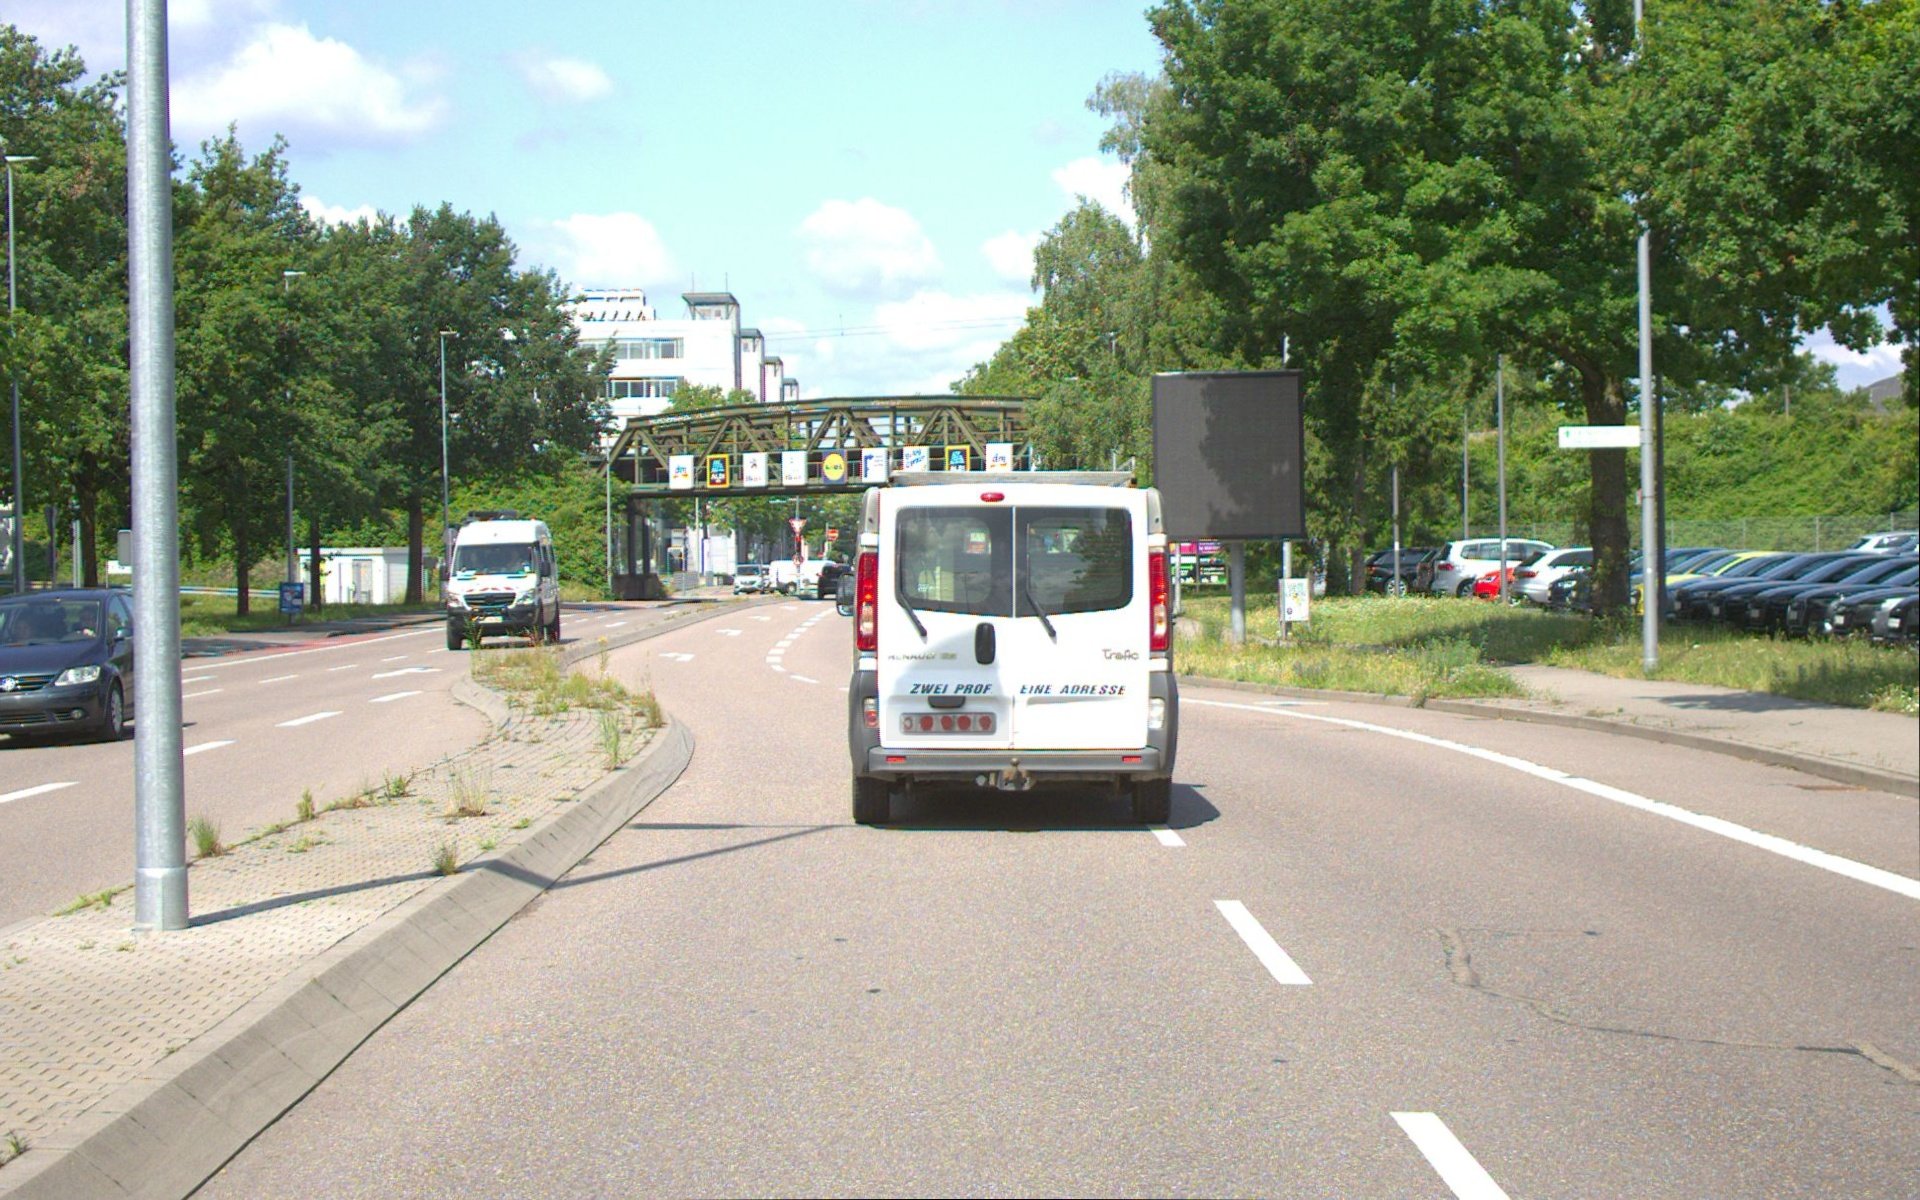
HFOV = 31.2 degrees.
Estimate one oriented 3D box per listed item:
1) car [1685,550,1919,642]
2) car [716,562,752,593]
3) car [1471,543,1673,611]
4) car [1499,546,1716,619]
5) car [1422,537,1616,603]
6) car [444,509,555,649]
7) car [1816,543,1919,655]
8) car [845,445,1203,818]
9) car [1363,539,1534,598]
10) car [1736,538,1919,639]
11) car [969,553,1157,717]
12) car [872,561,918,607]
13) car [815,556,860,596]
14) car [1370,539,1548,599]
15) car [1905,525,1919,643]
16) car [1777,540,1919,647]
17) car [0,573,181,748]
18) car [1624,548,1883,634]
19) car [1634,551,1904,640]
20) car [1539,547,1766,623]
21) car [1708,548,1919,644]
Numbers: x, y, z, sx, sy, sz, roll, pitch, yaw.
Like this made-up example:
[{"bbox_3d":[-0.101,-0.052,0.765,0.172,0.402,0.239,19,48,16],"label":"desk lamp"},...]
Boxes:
[{"bbox_3d":[14.966,-0.078,59.570,4.354,1.507,1.936,0,2,-2],"label":"car"},{"bbox_3d":[-15.024,-1.498,228.291,1.993,2.007,4.000,-1,1,2],"label":"car"},{"bbox_3d":[14.355,-0.546,80.839,4.354,1.507,1.936,0,2,-2],"label":"car"},{"bbox_3d":[14.161,-0.402,75.355,4.354,1.507,1.936,0,2,-2],"label":"car"},{"bbox_3d":[13.556,-0.735,83.580,4.354,1.507,1.936,0,2,-2],"label":"car"},{"bbox_3d":[-9.946,-0.476,74.653,2.022,2.883,6.383,-1,1,-5],"label":"car"},{"bbox_3d":[14.656,-0.020,49.078,4.354,1.507,1.936,0,2,-2],"label":"car"},{"bbox_3d":[0.334,0.102,21.246,1.973,2.052,4.565,0,2,-1],"label":"car"},{"bbox_3d":[13.367,-0.874,94.306,4.354,1.507,1.936,0,2,-2],"label":"car"},{"bbox_3d":[14.712,-0.189,54.474,4.354,1.507,1.936,0,2,-2],"label":"car"},{"bbox_3d":[1.073,0.339,37.734,1.774,1.623,4.001,0,2,-2],"label":"car"},{"bbox_3d":[-2.928,-0.729,155.444,1.993,2.007,4.000,-1,1,0],"label":"car"},{"bbox_3d":[-5.929,-1.177,166.656,1.993,1.765,4.001,0,2,1],"label":"car"},{"bbox_3d":[13.116,-0.822,90.478,4.354,1.507,1.936,0,2,-2],"label":"car"},{"bbox_3d":[14.588,-0.177,44.093,4.354,1.507,1.936,0,2,-2],"label":"car"},{"bbox_3d":[14.683,-0.102,51.561,4.354,1.507,1.936,0,2,-2],"label":"car"},{"bbox_3d":[-9.332,0.596,35.394,1.738,1.604,4.242,-4,1,-3],"label":"car"},{"bbox_3d":[14.848,-0.184,64.489,4.354,1.507,1.936,0,2,-2],"label":"car"},{"bbox_3d":[14.559,-0.089,62.022,4.354,1.507,1.936,0,2,-2],"label":"car"},{"bbox_3d":[14.599,-0.331,72.604,4.354,1.507,1.936,0,2,-2],"label":"car"},{"bbox_3d":[14.836,-0.073,57.075,4.354,1.507,1.936,0,2,-2],"label":"car"}]
